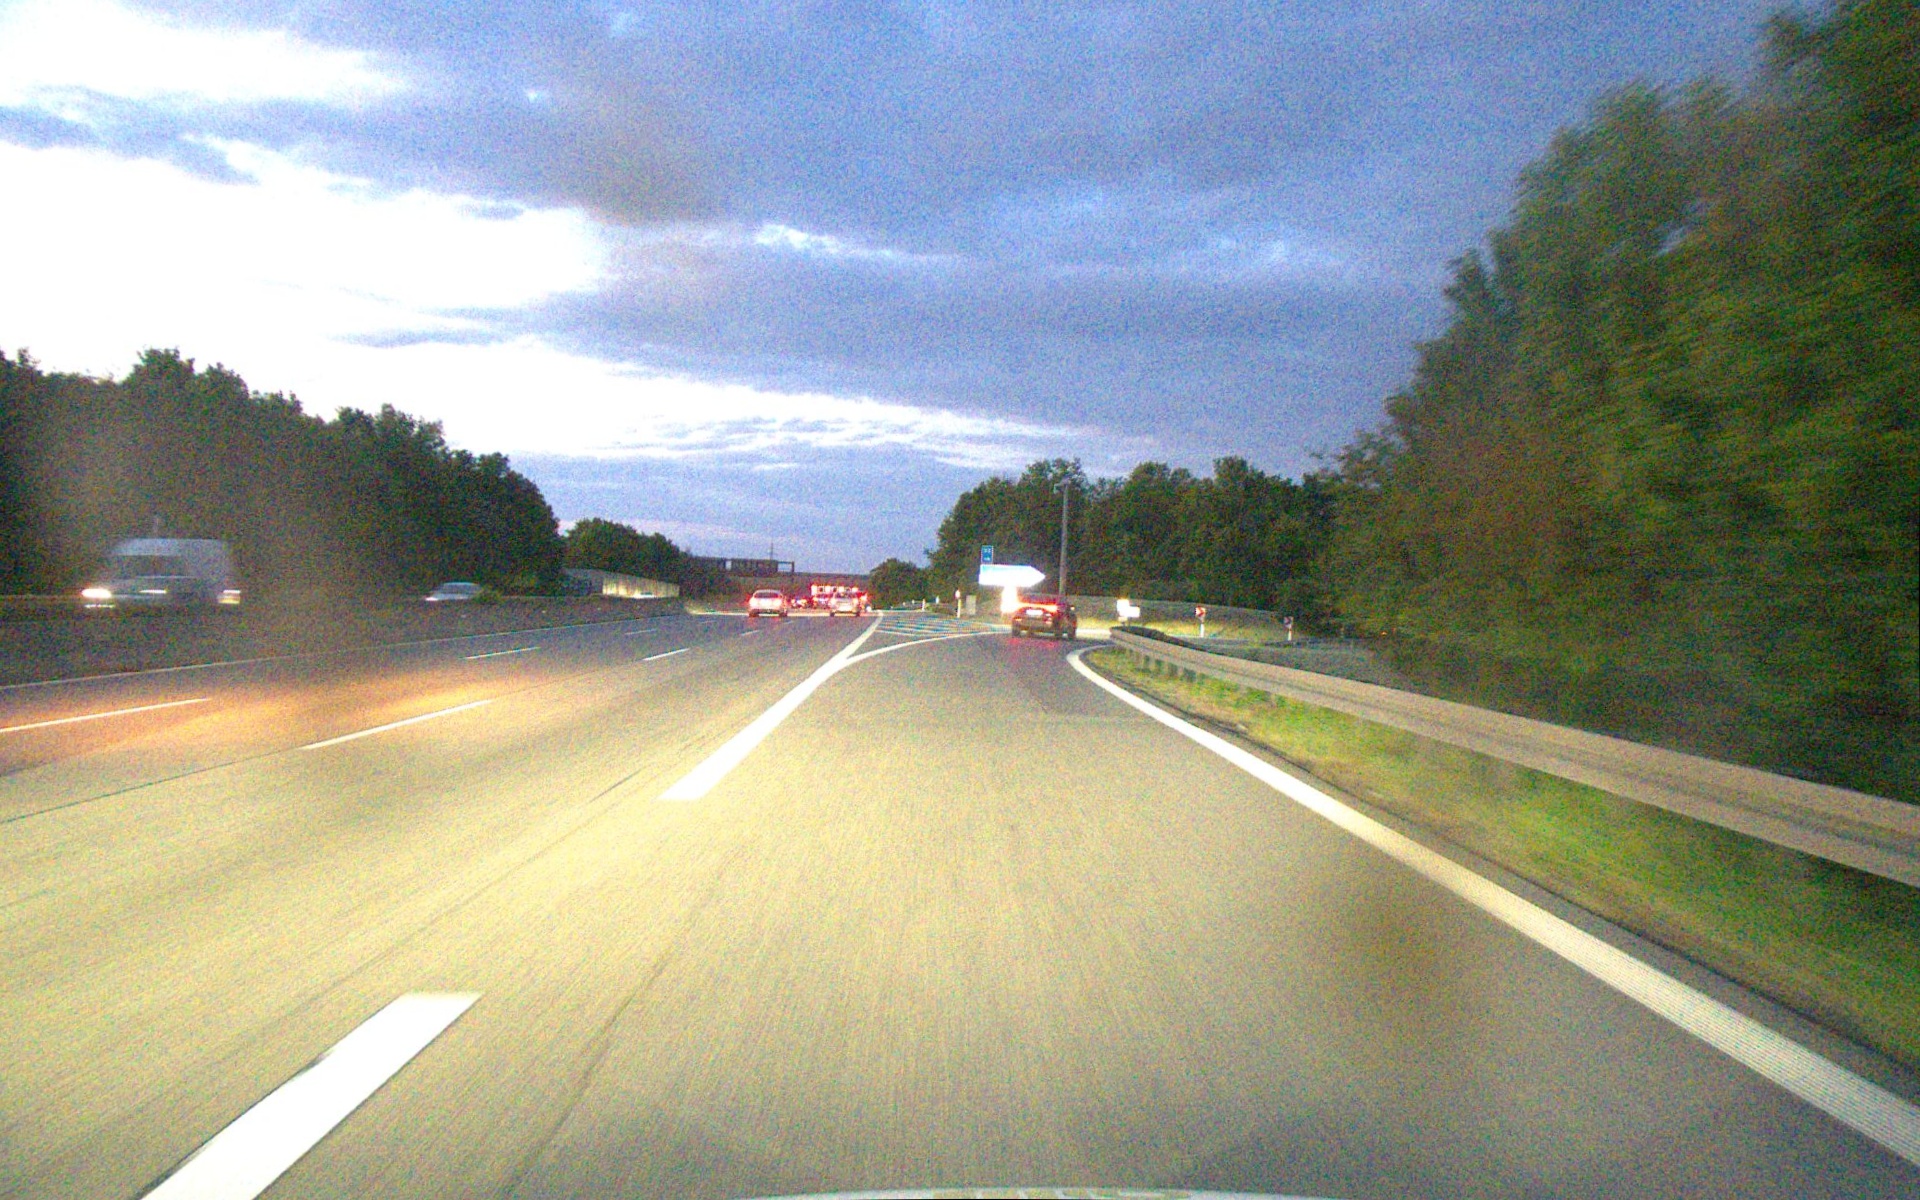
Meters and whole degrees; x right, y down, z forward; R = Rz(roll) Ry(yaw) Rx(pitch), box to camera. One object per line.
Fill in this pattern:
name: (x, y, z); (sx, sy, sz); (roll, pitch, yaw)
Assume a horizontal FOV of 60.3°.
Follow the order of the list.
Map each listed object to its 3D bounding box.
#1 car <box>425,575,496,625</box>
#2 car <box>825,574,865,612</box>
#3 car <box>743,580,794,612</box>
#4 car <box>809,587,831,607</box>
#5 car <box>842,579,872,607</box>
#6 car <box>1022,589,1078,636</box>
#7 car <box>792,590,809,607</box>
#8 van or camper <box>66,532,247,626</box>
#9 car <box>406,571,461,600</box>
car: (-22.076, -0.007, 73.200); (1.953, 2.049, 3.999); (2, 0, -1)
car: (-6.511, -0.391, 93.638); (1.953, 2.049, 4.000); (1, 0, 0)
car: (-10.219, -0.219, 88.757); (1.952, 1.671, 4.557); (0, 0, 3)
car: (-14.219, -0.300, 168.569); (2.029, 2.049, 3.999); (0, 1, -2)
car: (-7.833, -0.545, 125.983); (1.952, 2.049, 4.001); (0, 1, 1)
car: (3.356, 0.445, 61.020); (1.951, 1.688, 4.317); (0, 0, 4)
car: (-19.127, -0.198, 198.534); (2.064, 2.049, 3.996); (-1, 0, -5)
van or camper: (-24.302, -0.596, 50.378); (2.465, 2.640, 6.487); (1, 0, -2)
car: (-30.626, -0.826, 96.389); (1.953, 1.576, 3.999); (2, 0, -2)
